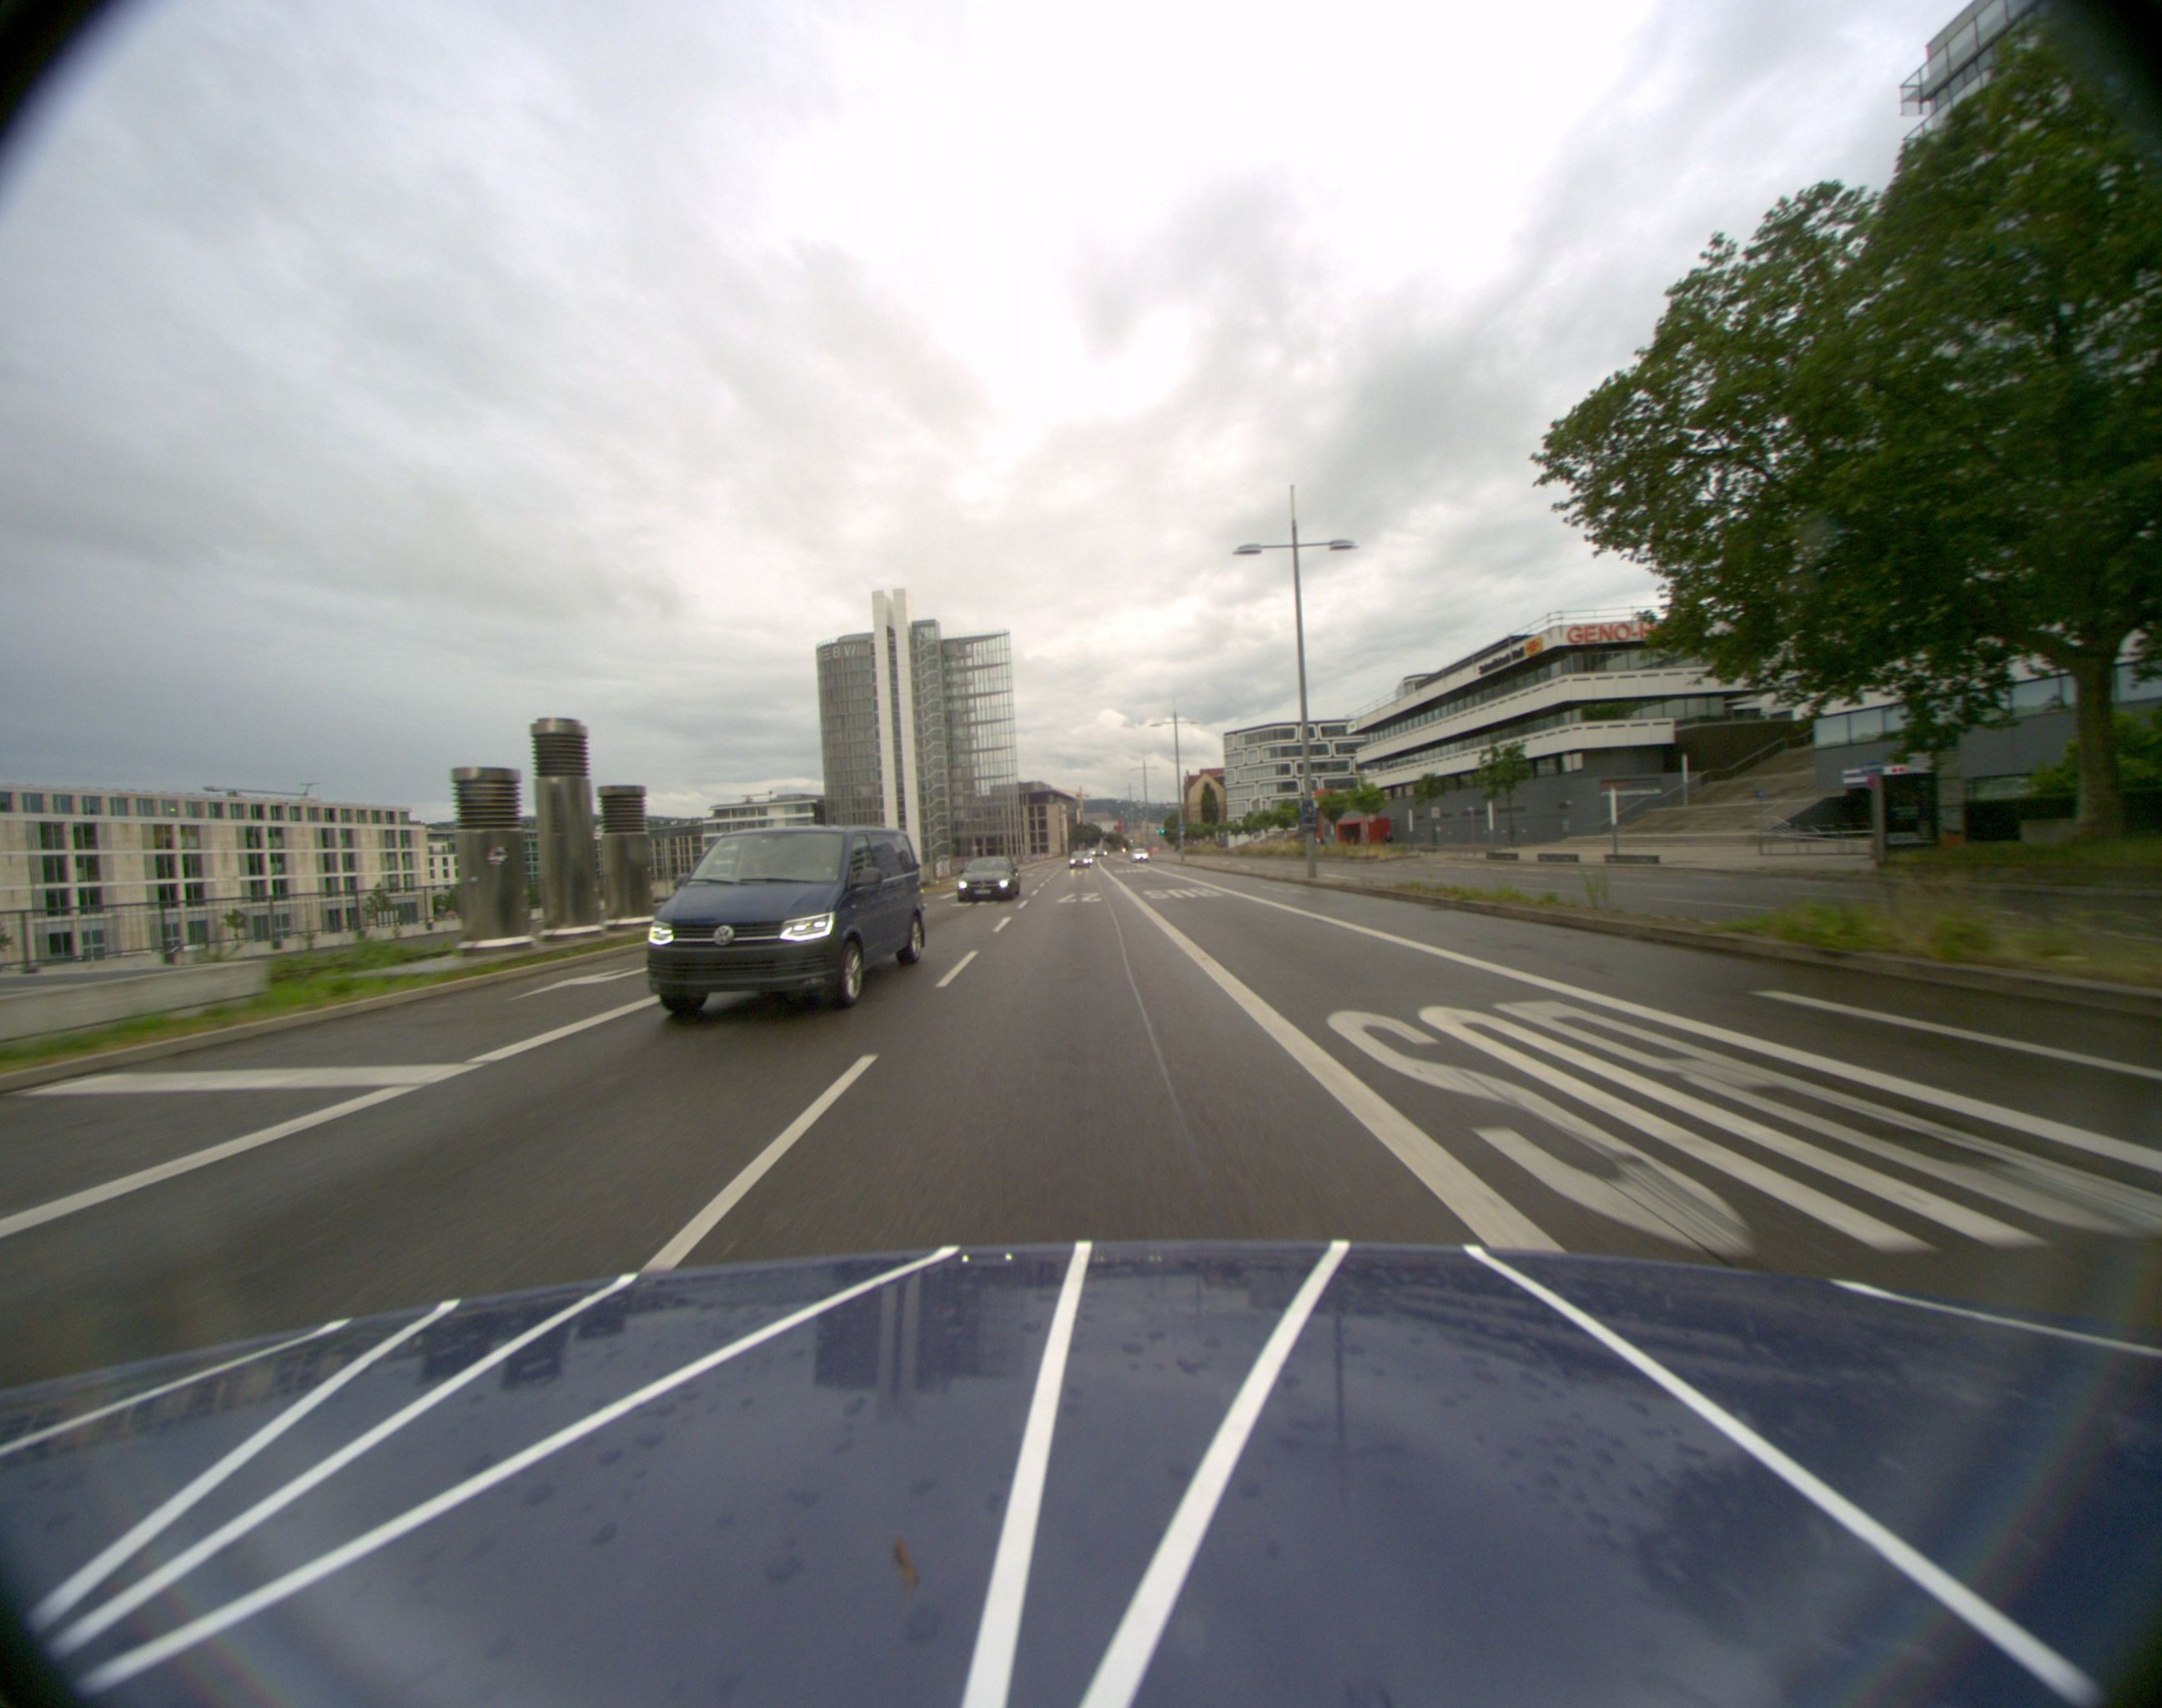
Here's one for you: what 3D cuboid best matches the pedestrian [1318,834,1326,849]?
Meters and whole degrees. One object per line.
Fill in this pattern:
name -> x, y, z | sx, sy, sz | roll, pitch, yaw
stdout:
pedestrian -> 29.360, -1.526, 92.561 | 0.631, 1.798, 0.628 | -2, 2, 1

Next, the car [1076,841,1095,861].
car -> 0.486, -0.315, 82.154 | 1.998, 2.002, 3.999 | -2, 2, 0

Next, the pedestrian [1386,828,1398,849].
pedestrian -> 27.517, -1.390, 67.148 | 0.786, 1.798, 0.628 | -2, 2, 1

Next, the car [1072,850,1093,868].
car -> 0.153, 0.434, 65.462 | 1.684, 1.379, 3.475 | -2, 2, 1

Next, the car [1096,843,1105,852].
car -> 4.294, -1.433, 167.246 | 1.998, 2.002, 3.999 | -2, 2, 0

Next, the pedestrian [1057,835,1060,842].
pedestrian -> -5.183, -3.623, 174.449 | 0.660, 1.602, 0.547 | -3, 1, 7

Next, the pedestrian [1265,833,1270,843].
pedestrian -> 32.372, -2.744, 131.859 | 0.612, 1.602, 0.639 | -4, 2, 5

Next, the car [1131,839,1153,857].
car -> 6.651, -0.643, 82.980 | 1.971, 1.816, 3.926 | -3, 1, -1

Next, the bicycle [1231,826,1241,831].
bicycle -> 25.503, -4.188, 125.368 | 0.610, 0.852, 1.653 | -4, 2, -32

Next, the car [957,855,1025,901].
car -> -2.958, 0.749, 25.755 | 1.727, 1.368, 4.155 | -2, 0, 0

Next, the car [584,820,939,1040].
car -> -3.342, 0.685, 9.337 | 2.038, 1.871, 5.042 | -3, 0, 1

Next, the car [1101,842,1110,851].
car -> 5.927, -1.822, 182.138 | 1.998, 2.002, 3.999 | -2, 2, 0

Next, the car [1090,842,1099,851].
car -> 3.153, -1.751, 183.363 | 1.998, 2.002, 3.999 | -2, 2, 0
